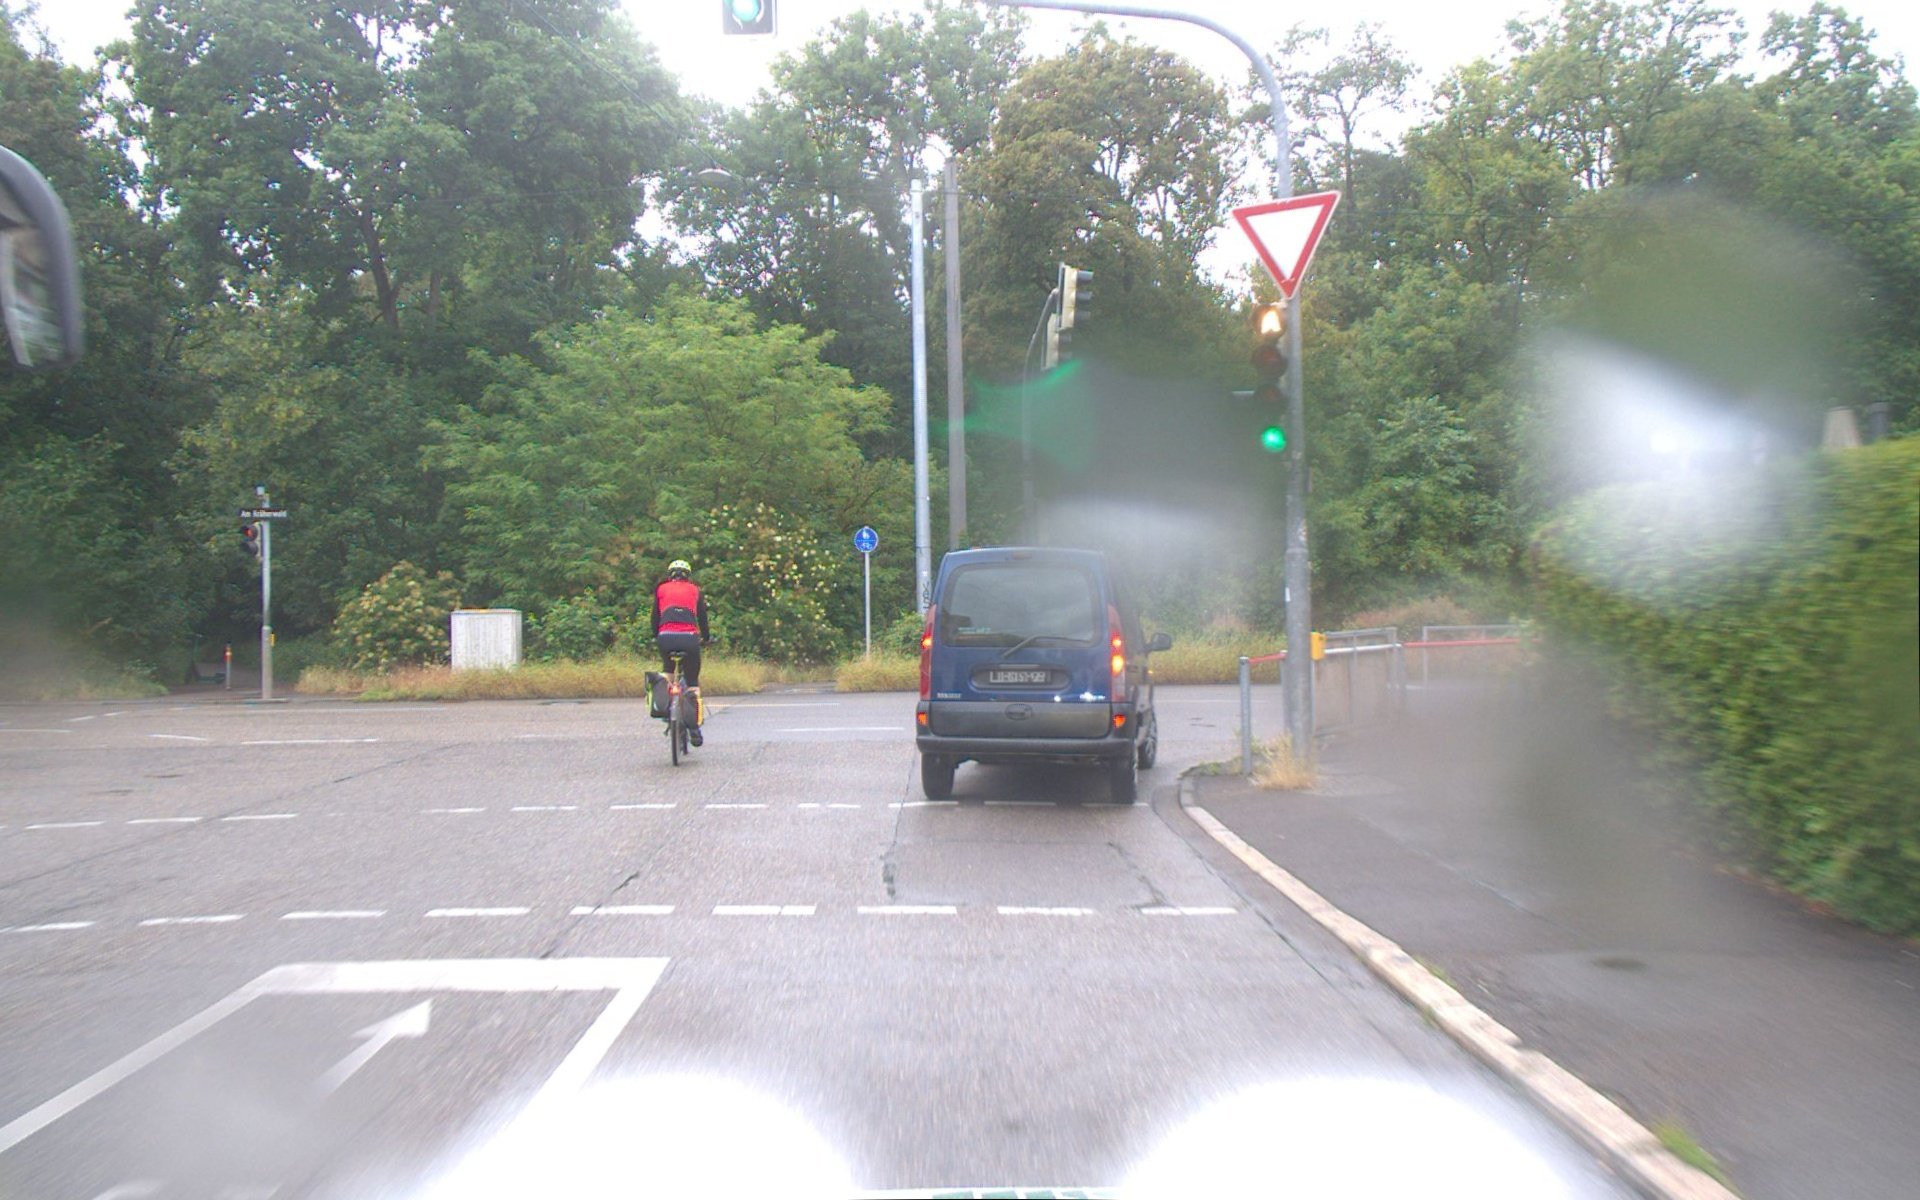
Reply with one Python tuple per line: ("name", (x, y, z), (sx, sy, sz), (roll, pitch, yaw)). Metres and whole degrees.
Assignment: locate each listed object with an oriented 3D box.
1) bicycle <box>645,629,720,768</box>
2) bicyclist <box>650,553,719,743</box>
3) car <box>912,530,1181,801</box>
("bicycle", (-2.514, 0.853, 15.145), (0.567, 1.115, 2.151), (0, 1, -7))
("bicyclist", (-2.515, 0.419, 15.170), (0.567, 1.681, 1.047), (0, 0, -7))
("car", (0.851, 0.467, 13.394), (1.770, 1.829, 4.003), (-1, 0, 8))
